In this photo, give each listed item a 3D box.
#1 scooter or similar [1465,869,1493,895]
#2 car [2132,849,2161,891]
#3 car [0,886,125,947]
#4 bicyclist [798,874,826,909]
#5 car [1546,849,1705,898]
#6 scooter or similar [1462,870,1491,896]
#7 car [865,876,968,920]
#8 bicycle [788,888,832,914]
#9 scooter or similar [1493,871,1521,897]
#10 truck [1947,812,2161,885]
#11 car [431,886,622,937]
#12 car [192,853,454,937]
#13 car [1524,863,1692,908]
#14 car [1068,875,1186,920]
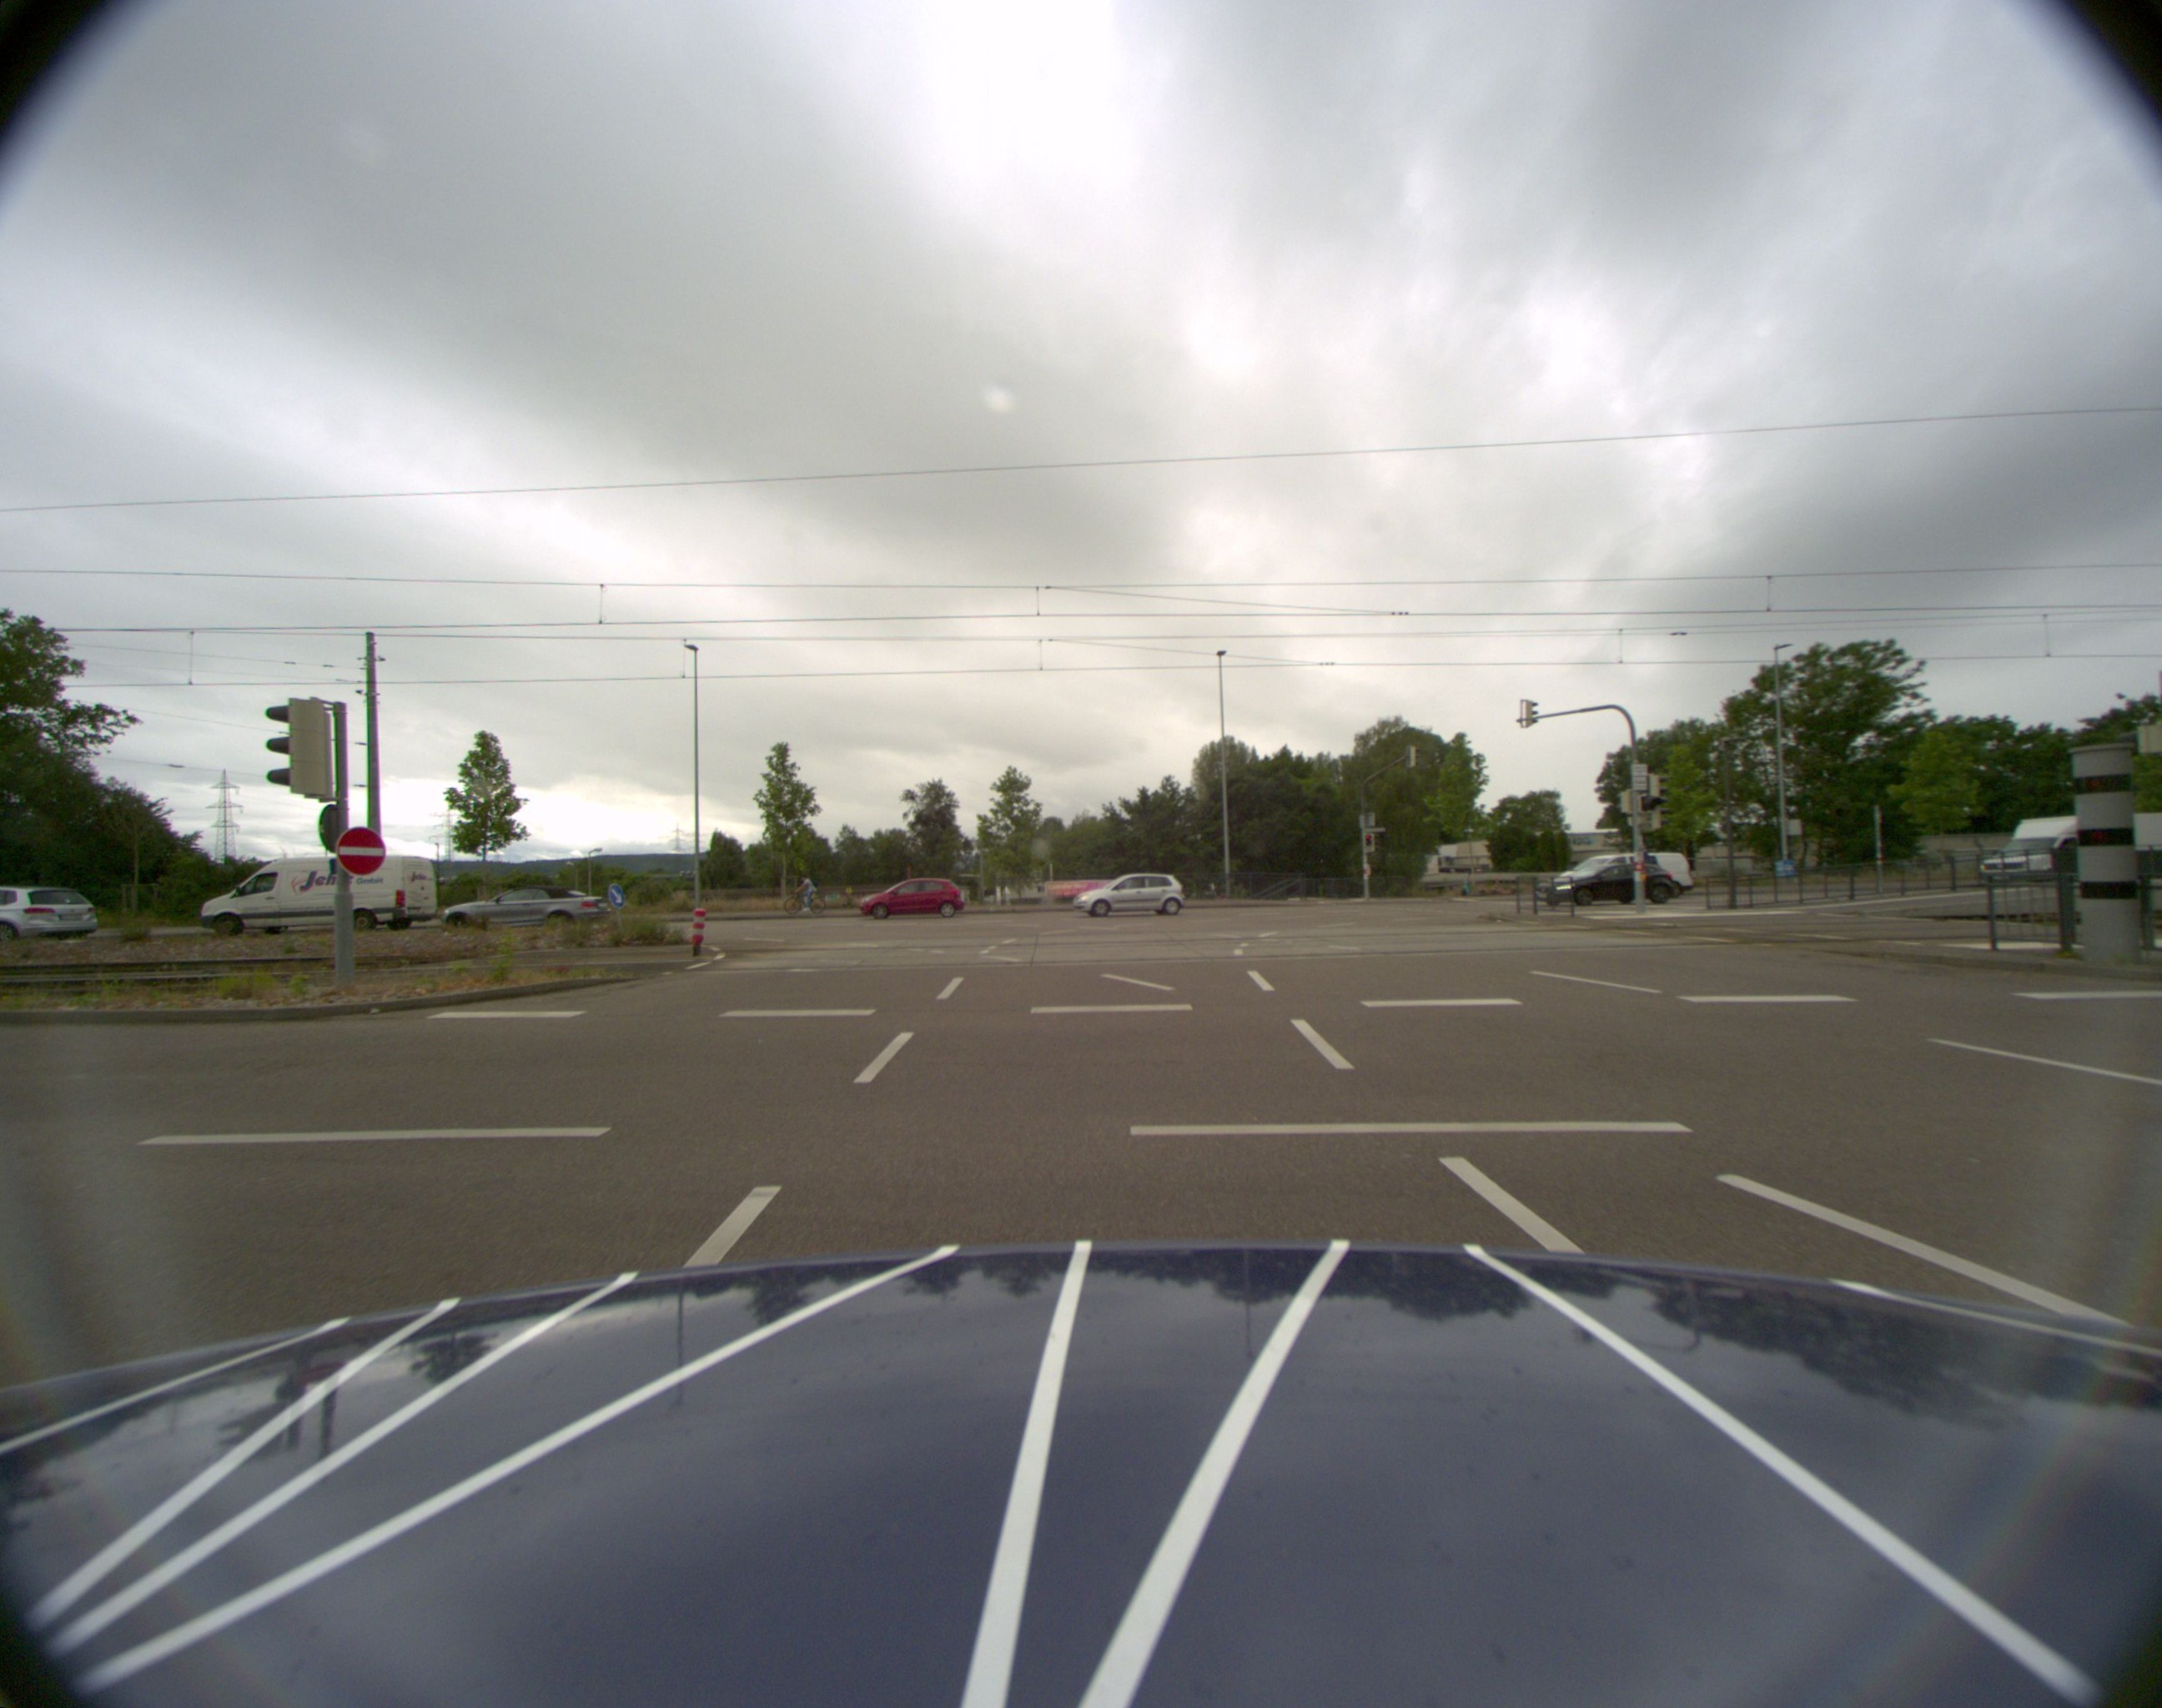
[{"bbox_3d":[19.654,1.398,37.511,1.154,1.236,0.391,-1,0,0],"label":"scooter or similar"},{"bbox_3d":[44.818,0.575,29.970,4.246,1.641,1.785,-1,-2,-1],"label":"car"},{"bbox_3d":[-28.938,1.674,20.174,4.202,1.542,1.860,-1,-2,-11],"label":"car"},{"bbox_3d":[-11.541,1.610,32.625,0.968,1.445,0.691,0,1,-9],"label":"bicyclist"},{"bbox_3d":[22.989,0.850,32.238,5.116,1.868,2.102,-1,-2,1],"label":"car"},{"bbox_3d":[19.283,1.392,37.061,1.153,1.236,0.478,-1,0,5],"label":"scooter or similar"},{"bbox_3d":[-6.345,1.690,29.460,3.772,1.551,1.655,-1,-2,-11],"label":"car"},{"bbox_3d":[-11.627,2.020,32.662,1.709,1.040,0.548,0,1,-9],"label":"bicycle"},{"bbox_3d":[20.881,1.473,37.226,1.046,1.208,0.375,-4,0,5],"label":"scooter or similar"},{"bbox_3d":[42.688,-0.186,33.141,6.540,2.905,2.829,-1,-2,-2],"label":"truck"},{"bbox_3d":[-16.864,1.729,23.342,4.344,1.382,1.875,-1,-3,-11],"label":"car"},{"bbox_3d":[-25.959,1.394,26.351,5.901,2.609,2.663,-1,-2,-11],"label":"car"},{"bbox_3d":[18.104,1.106,26.255,4.340,1.382,2.001,-1,-2,1],"label":"car"},{"bbox_3d":[1.566,1.509,26.667,3.850,1.410,1.682,-1,-2,-8],"label":"car"}]
